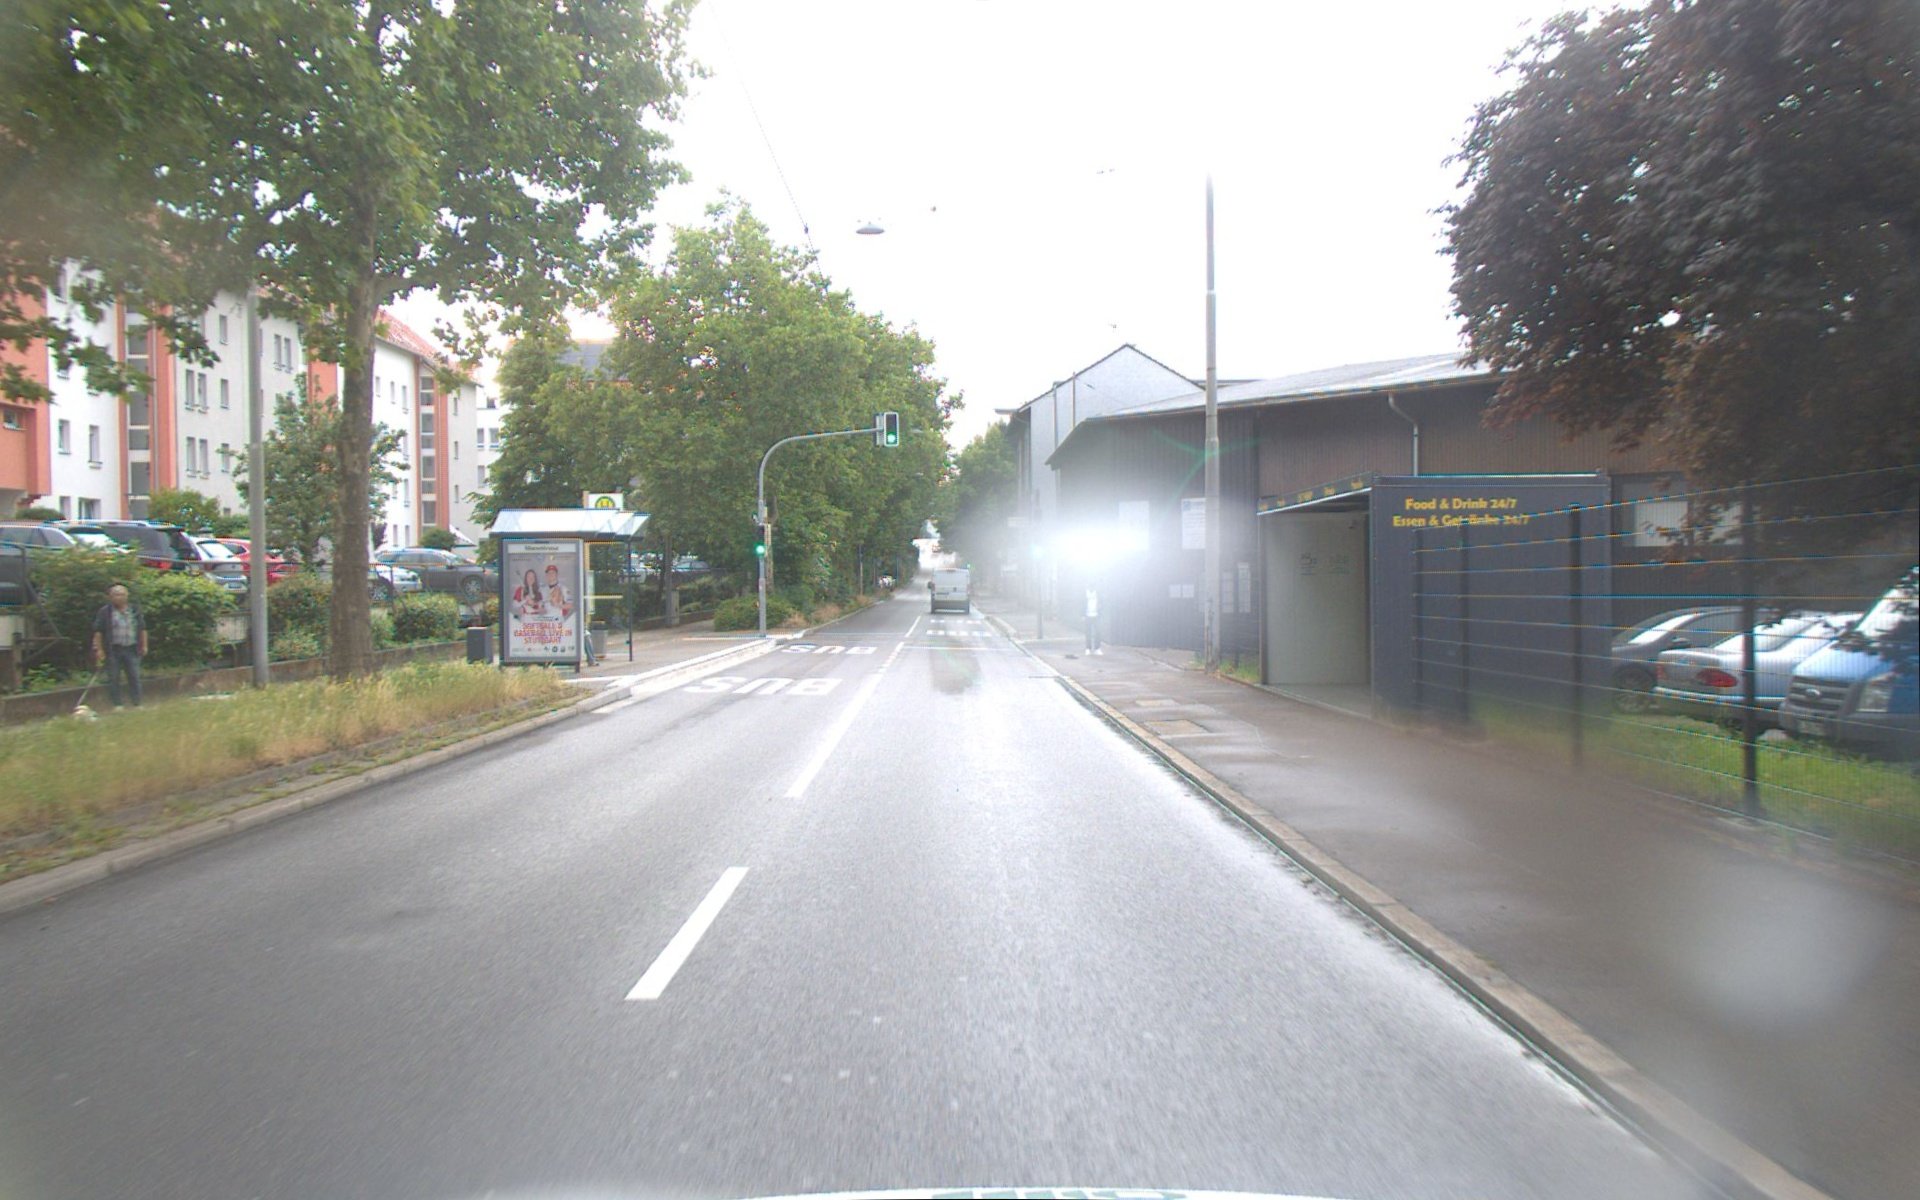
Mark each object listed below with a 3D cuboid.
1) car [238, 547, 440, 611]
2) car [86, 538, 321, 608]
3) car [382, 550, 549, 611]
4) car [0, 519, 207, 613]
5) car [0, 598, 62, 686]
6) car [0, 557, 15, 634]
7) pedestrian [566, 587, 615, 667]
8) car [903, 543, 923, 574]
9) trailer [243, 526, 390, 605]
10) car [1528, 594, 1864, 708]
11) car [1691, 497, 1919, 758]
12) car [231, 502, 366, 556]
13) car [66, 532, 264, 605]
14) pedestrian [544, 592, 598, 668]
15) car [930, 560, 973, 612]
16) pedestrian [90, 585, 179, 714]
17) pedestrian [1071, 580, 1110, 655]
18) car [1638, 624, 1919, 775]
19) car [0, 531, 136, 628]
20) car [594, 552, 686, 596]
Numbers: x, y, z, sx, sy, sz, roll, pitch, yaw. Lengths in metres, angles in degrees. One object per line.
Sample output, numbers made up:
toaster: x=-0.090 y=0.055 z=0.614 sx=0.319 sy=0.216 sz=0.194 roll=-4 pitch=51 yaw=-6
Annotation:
car: x=-15.409 y=-0.493 z=41.206 sx=4.267 sy=1.449 sz=1.859 roll=1 pitch=-1 yaw=-1
car: x=-15.720 y=-0.547 z=34.511 sx=4.005 sy=1.325 sz=1.809 roll=1 pitch=-1 yaw=-1
car: x=-15.015 y=-0.585 z=50.378 sx=4.453 sy=1.701 sz=1.999 roll=1 pitch=-1 yaw=-2
car: x=-15.318 y=-0.585 z=29.479 sx=3.066 sy=1.570 sz=1.436 roll=1 pitch=-1 yaw=-1
car: x=-24.273 y=0.994 z=40.106 sx=3.904 sy=2.049 sz=2.001 roll=0 pitch=0 yaw=2
car: x=-24.192 y=-0.108 z=37.981 sx=3.810 sy=1.780 sz=2.001 roll=0 pitch=0 yaw=2
pedestrian: x=-6.855 y=0.502 z=30.697 sx=0.673 sy=1.443 sz=0.641 roll=-3 pitch=-1 yaw=3
car: x=-5.795 y=-5.156 z=204.658 sx=2.170 sy=2.332 sz=4.613 roll=1 pitch=-19 yaw=1
trailer: x=-14.270 y=-0.752 z=36.754 sx=2.649 sy=1.674 sz=1.480 roll=1 pitch=0 yaw=0
car: x=10.194 y=0.703 z=23.114 sx=3.905 sy=1.448 sz=1.784 roll=1 pitch=-1 yaw=0
car: x=9.991 y=0.268 z=15.446 sx=5.455 sy=2.249 sz=1.999 roll=1 pitch=0 yaw=-2
car: x=-21.894 y=-2.340 z=54.836 sx=3.733 sy=1.630 sz=1.717 roll=1 pitch=-1 yaw=-3
car: x=-15.291 y=-0.600 z=31.912 sx=3.066 sy=1.292 sz=1.436 roll=1 pitch=-1 yaw=-1
pedestrian: x=-7.031 y=0.540 z=29.925 sx=0.759 sy=1.340 sz=0.641 roll=-2 pitch=-1 yaw=3
car: x=-0.443 y=-0.714 z=86.263 sx=2.236 sy=2.597 sz=3.999 roll=0 pitch=-1 yaw=0
pedestrian: x=-10.814 y=0.642 z=21.694 sx=0.740 sy=1.639 sz=0.834 roll=1 pitch=-1 yaw=-5
pedestrian: x=3.034 y=0.407 z=38.629 sx=0.728 sy=1.734 sz=0.900 roll=1 pitch=-1 yaw=-6
car: x=9.985 y=1.046 z=18.240 sx=4.291 sy=1.558 sz=1.793 roll=0 pitch=-1 yaw=-3
car: x=-15.897 y=-0.336 z=27.330 sx=3.581 sy=1.524 sz=1.896 roll=1 pitch=-1 yaw=-5
car: x=-15.257 y=-1.232 z=79.105 sx=4.085 sy=2.049 sz=1.718 roll=1 pitch=0 yaw=-3
